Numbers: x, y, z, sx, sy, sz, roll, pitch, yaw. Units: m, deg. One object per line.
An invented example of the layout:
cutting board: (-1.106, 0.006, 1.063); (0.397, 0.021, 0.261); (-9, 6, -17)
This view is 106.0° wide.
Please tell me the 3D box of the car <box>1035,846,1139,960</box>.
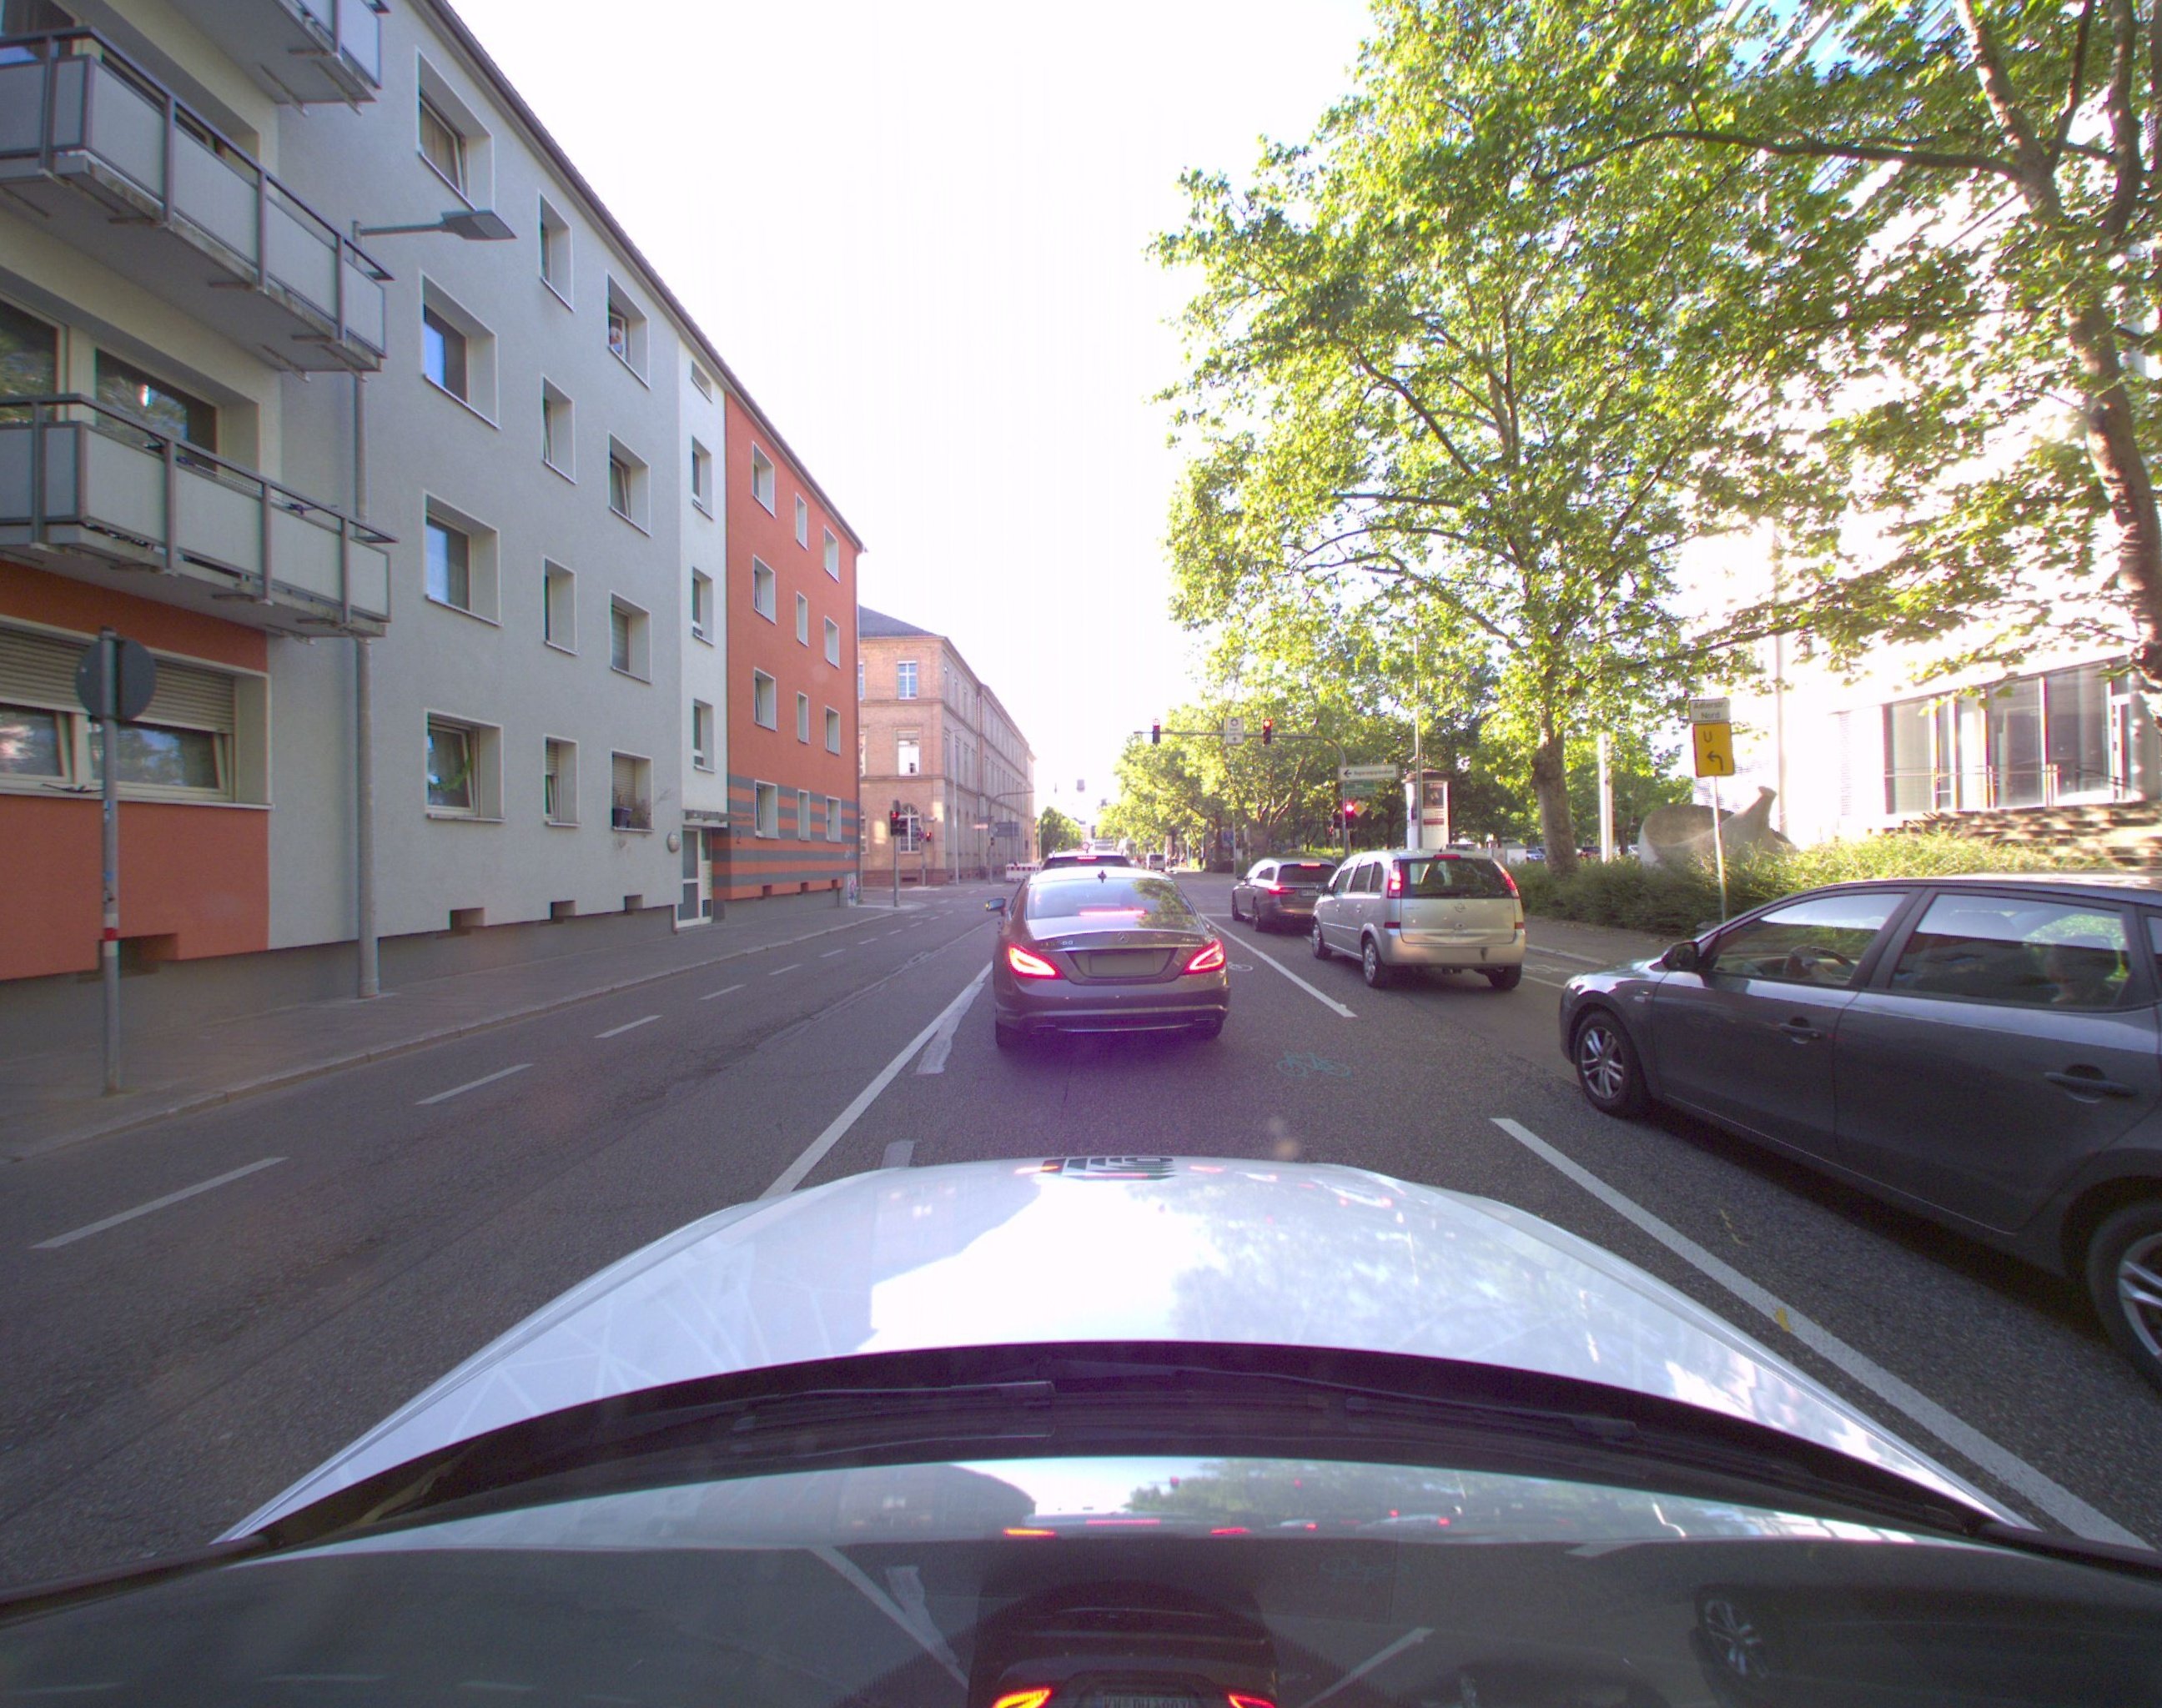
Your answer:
car: (0.084, 0.710, 13.827); (1.513, 1.647, 3.879); (-1, 0, 0)

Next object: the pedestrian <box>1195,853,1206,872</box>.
pedestrian: (10.238, 0.728, 69.786); (0.827, 1.606, 0.652); (-1, 0, 1)

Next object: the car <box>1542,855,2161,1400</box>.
car: (3.804, 0.756, 3.379); (1.638, 1.482, 3.978); (1, 0, 2)

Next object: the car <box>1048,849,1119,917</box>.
car: (0.127, 0.767, 23.377); (1.813, 1.762, 4.002); (-1, 0, 2)

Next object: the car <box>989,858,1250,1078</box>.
car: (0.086, 0.786, 7.789); (1.801, 1.456, 4.342); (-1, 0, -5)

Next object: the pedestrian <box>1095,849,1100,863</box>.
pedestrian: (2.313, 0.241, 115.513); (0.722, 2.013, 0.748); (-1, 0, -2)

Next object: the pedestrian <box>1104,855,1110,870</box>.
pedestrian: (3.644, 1.210, 115.257); (0.722, 2.013, 0.748); (-1, 0, -2)

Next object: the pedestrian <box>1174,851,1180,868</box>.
pedestrian: (10.351, 0.563, 88.064); (0.601, 1.821, 0.652); (-1, 0, 1)

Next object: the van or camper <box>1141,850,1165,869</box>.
van or camper: (7.677, 0.543, 86.825); (1.988, 1.941, 4.591); (-1, 0, -2)

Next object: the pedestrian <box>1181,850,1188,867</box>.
pedestrian: (11.190, 0.524, 87.911); (0.601, 1.821, 0.652); (-1, 0, 1)

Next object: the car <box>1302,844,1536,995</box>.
car: (4.180, 0.703, 10.745); (1.694, 1.603, 3.863); (1, 0, 4)

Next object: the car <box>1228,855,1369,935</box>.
car: (4.467, 0.769, 17.478); (1.905, 1.464, 4.671); (0, 0, 2)
